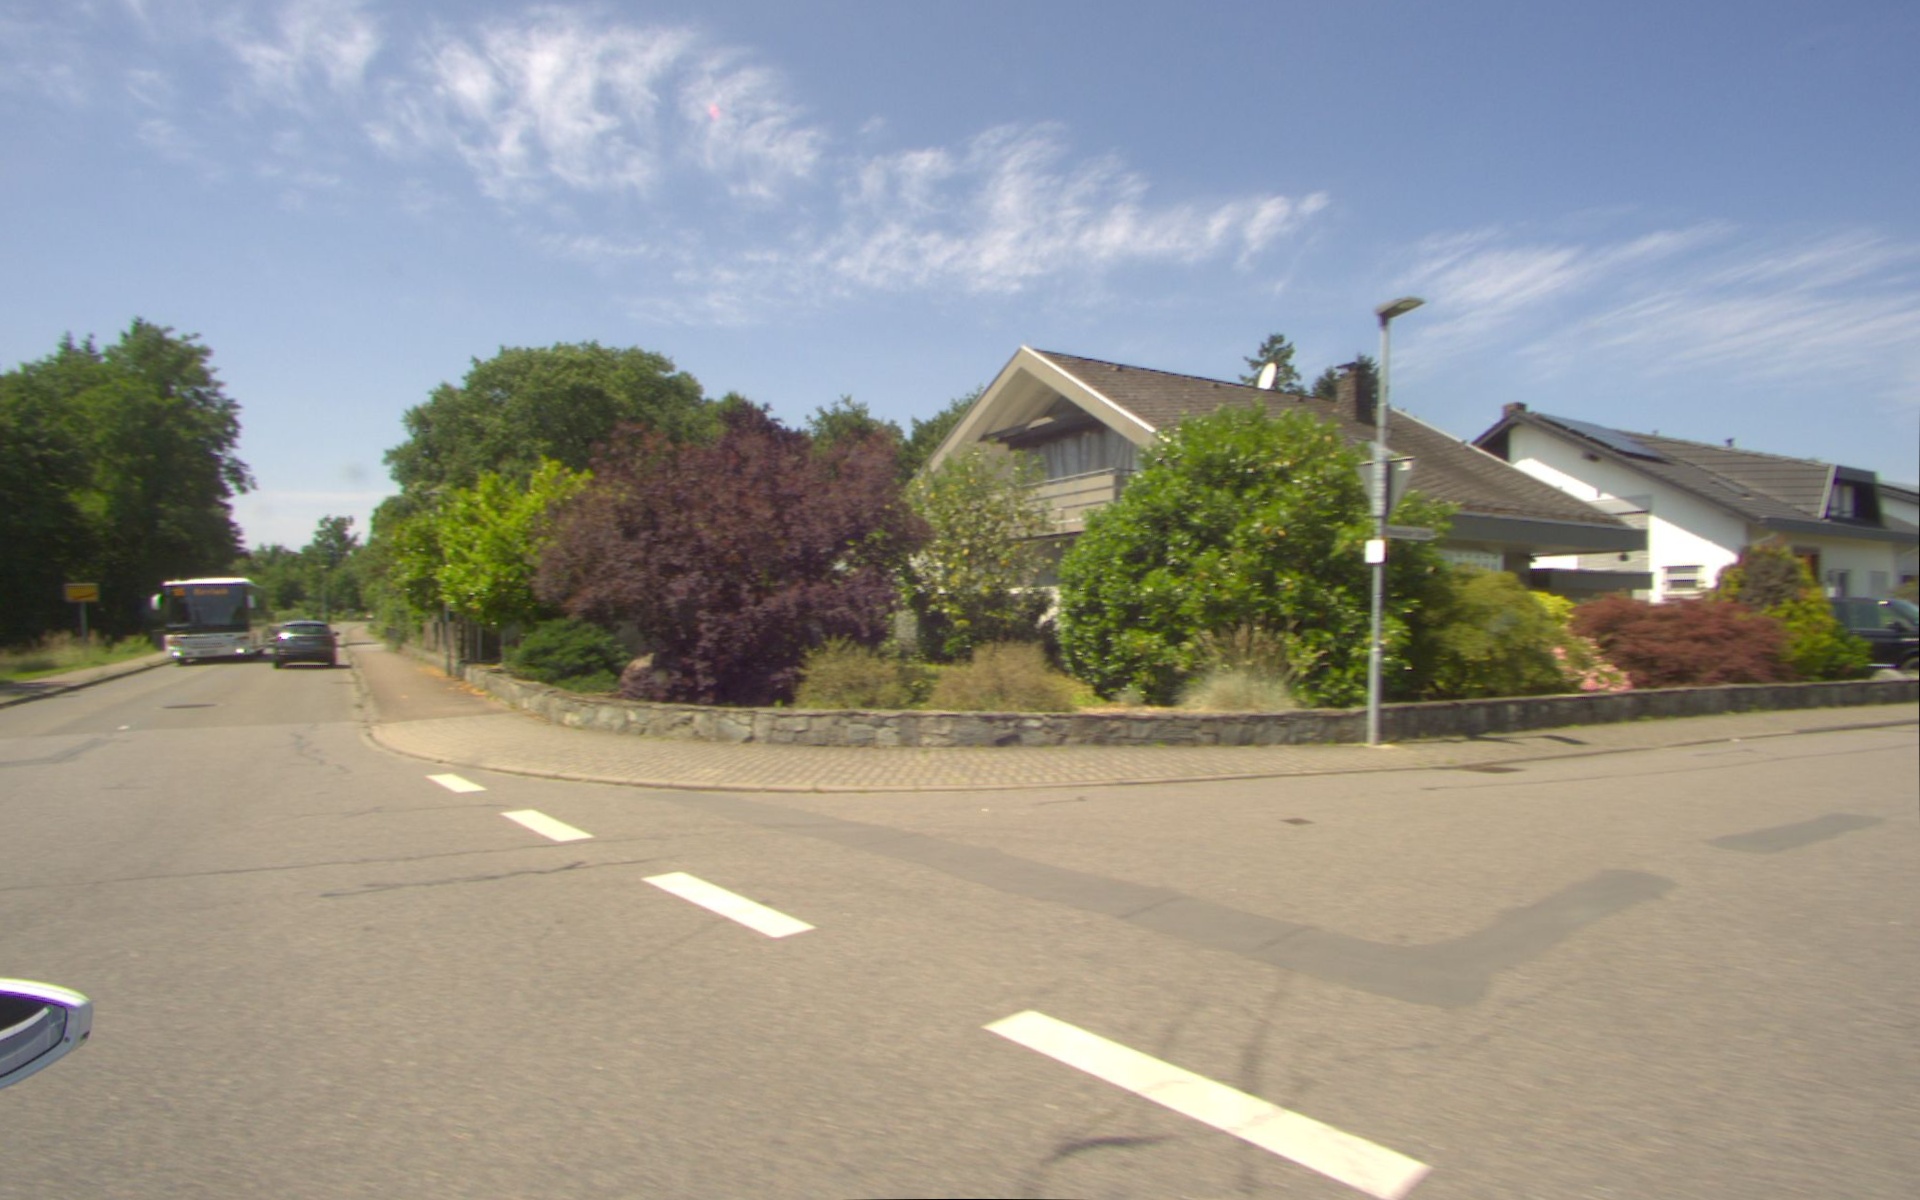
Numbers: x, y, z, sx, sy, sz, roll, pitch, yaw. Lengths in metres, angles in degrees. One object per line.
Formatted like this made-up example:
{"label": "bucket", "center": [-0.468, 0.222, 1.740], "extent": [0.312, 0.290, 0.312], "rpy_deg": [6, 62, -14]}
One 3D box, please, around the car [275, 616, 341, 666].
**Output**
{"label": "car", "center": [-22.748, 1.420, 35.035], "extent": [1.744, 1.638, 3.979], "rpy_deg": [1, -2, -31]}

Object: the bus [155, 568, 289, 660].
{"label": "bus", "center": [-30.759, 0.610, 42.287], "extent": [3.146, 3.286, 12.645], "rpy_deg": [0, -1, -30]}

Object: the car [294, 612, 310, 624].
{"label": "car", "center": [-103.137, 2.788, 156.883], "extent": [1.933, 1.884, 3.972], "rpy_deg": [0, -1, -36]}

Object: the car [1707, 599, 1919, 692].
{"label": "car", "center": [20.243, 0.977, 22.725], "extent": [1.901, 1.940, 4.939], "rpy_deg": [0, -1, -31]}
